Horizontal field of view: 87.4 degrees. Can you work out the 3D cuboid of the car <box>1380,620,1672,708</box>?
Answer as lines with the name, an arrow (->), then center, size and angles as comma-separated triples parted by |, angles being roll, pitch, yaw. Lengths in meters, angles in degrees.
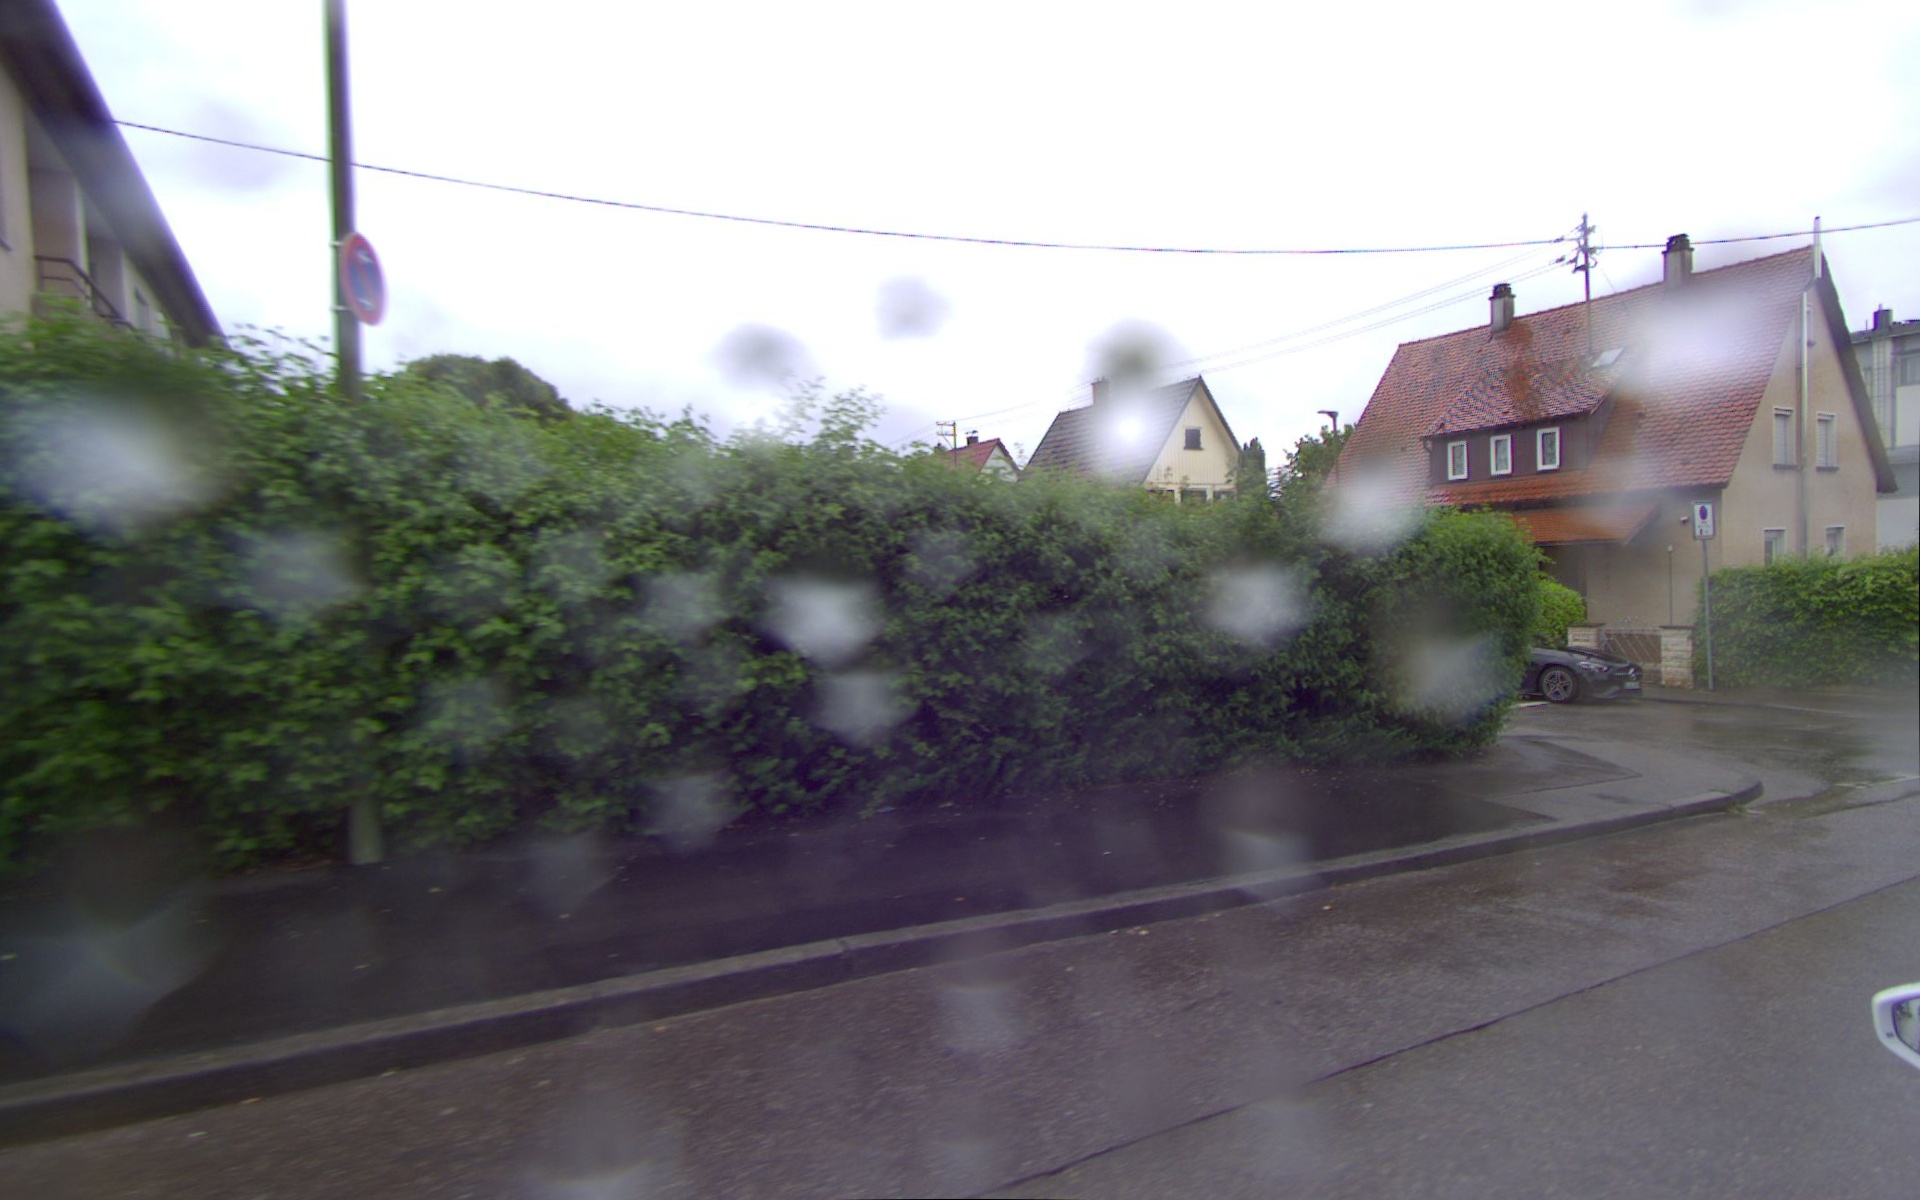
car -> 10.523, 1.109, 19.067 | 1.871, 1.417, 4.561 | 0, -1, -29
